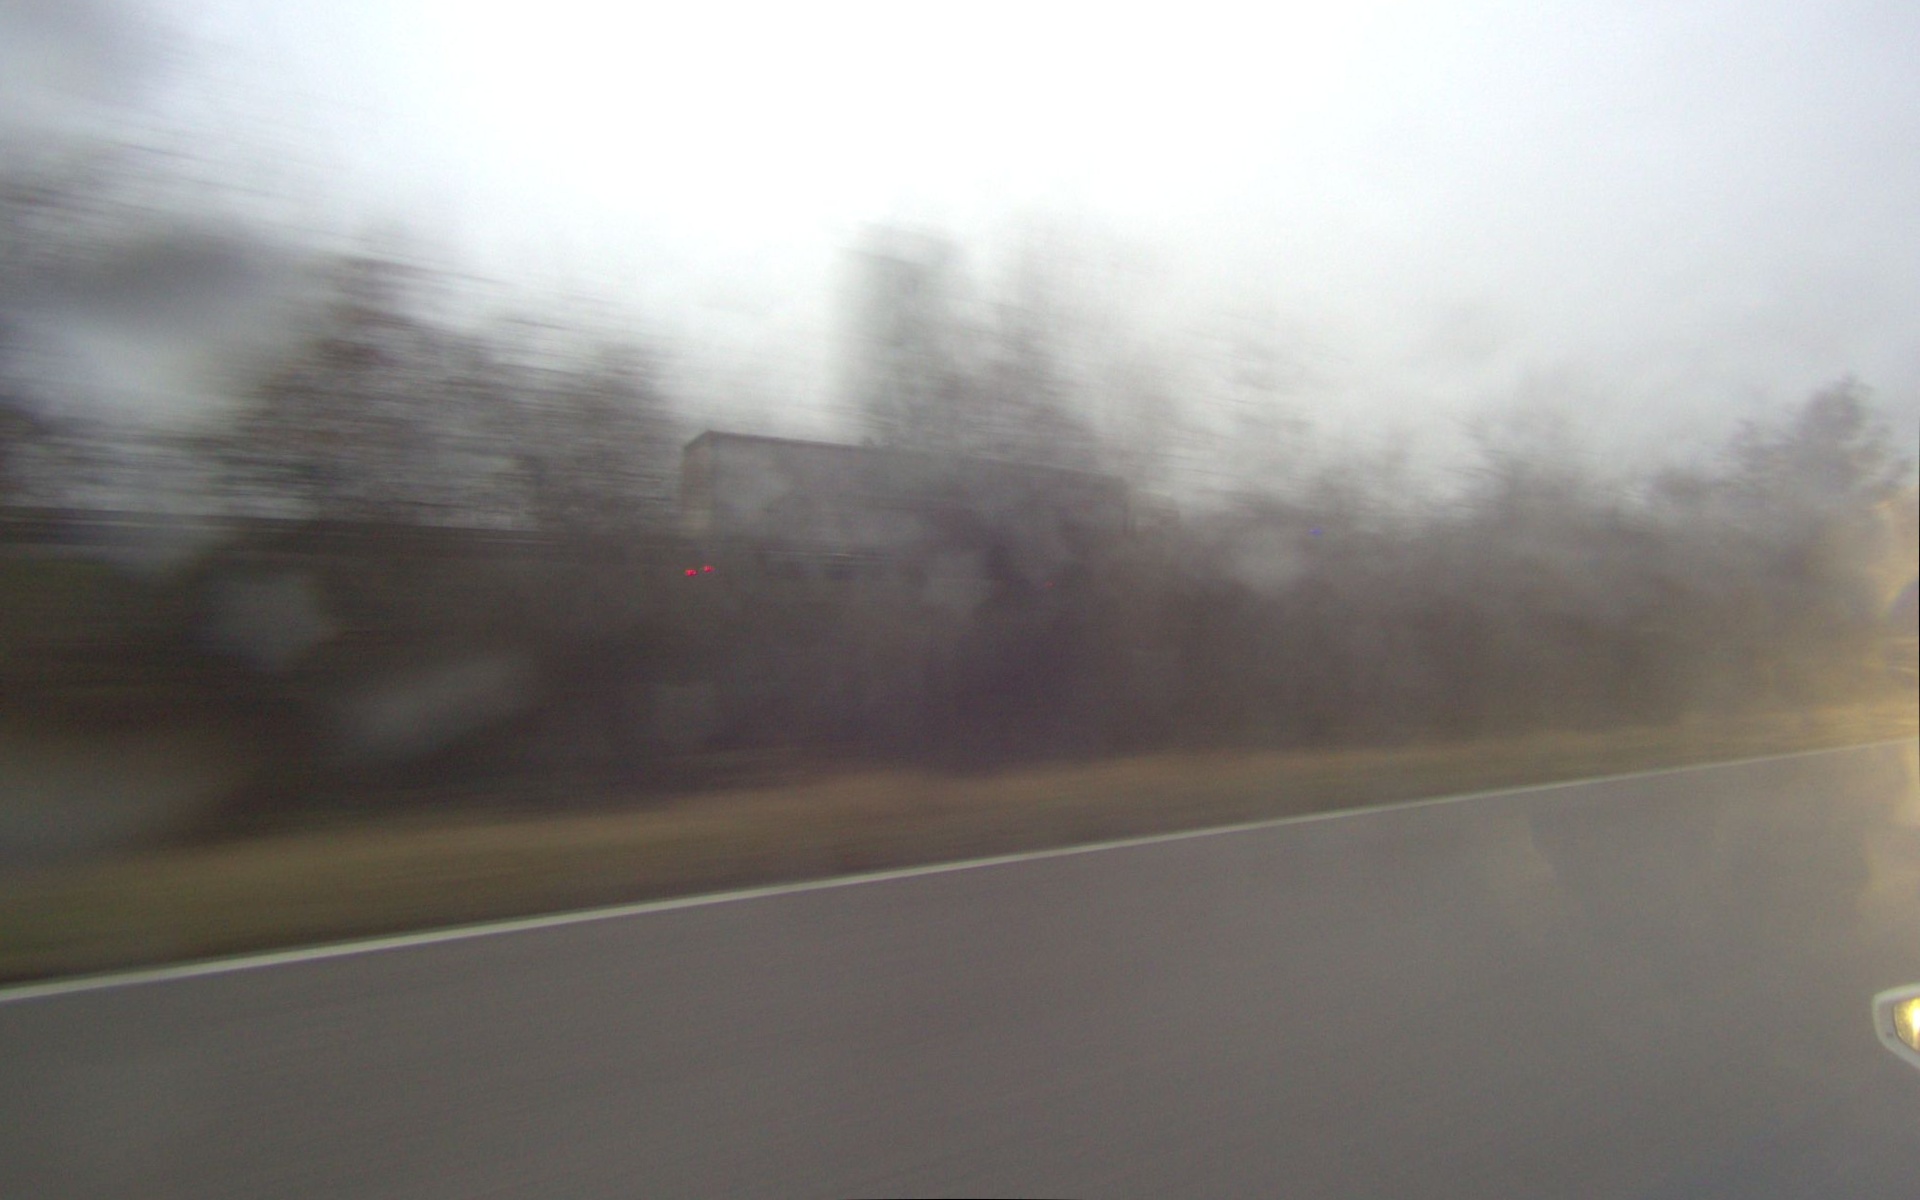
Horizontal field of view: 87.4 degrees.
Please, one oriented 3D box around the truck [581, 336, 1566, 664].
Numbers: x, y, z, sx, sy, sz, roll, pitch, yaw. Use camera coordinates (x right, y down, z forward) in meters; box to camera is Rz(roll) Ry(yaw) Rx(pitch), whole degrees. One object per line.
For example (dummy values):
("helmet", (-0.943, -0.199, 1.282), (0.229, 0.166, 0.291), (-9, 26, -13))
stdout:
("truck", (7.546, -1.870, 37.256), (39.679, 7.815, 7.507), (2, 0, -30))
